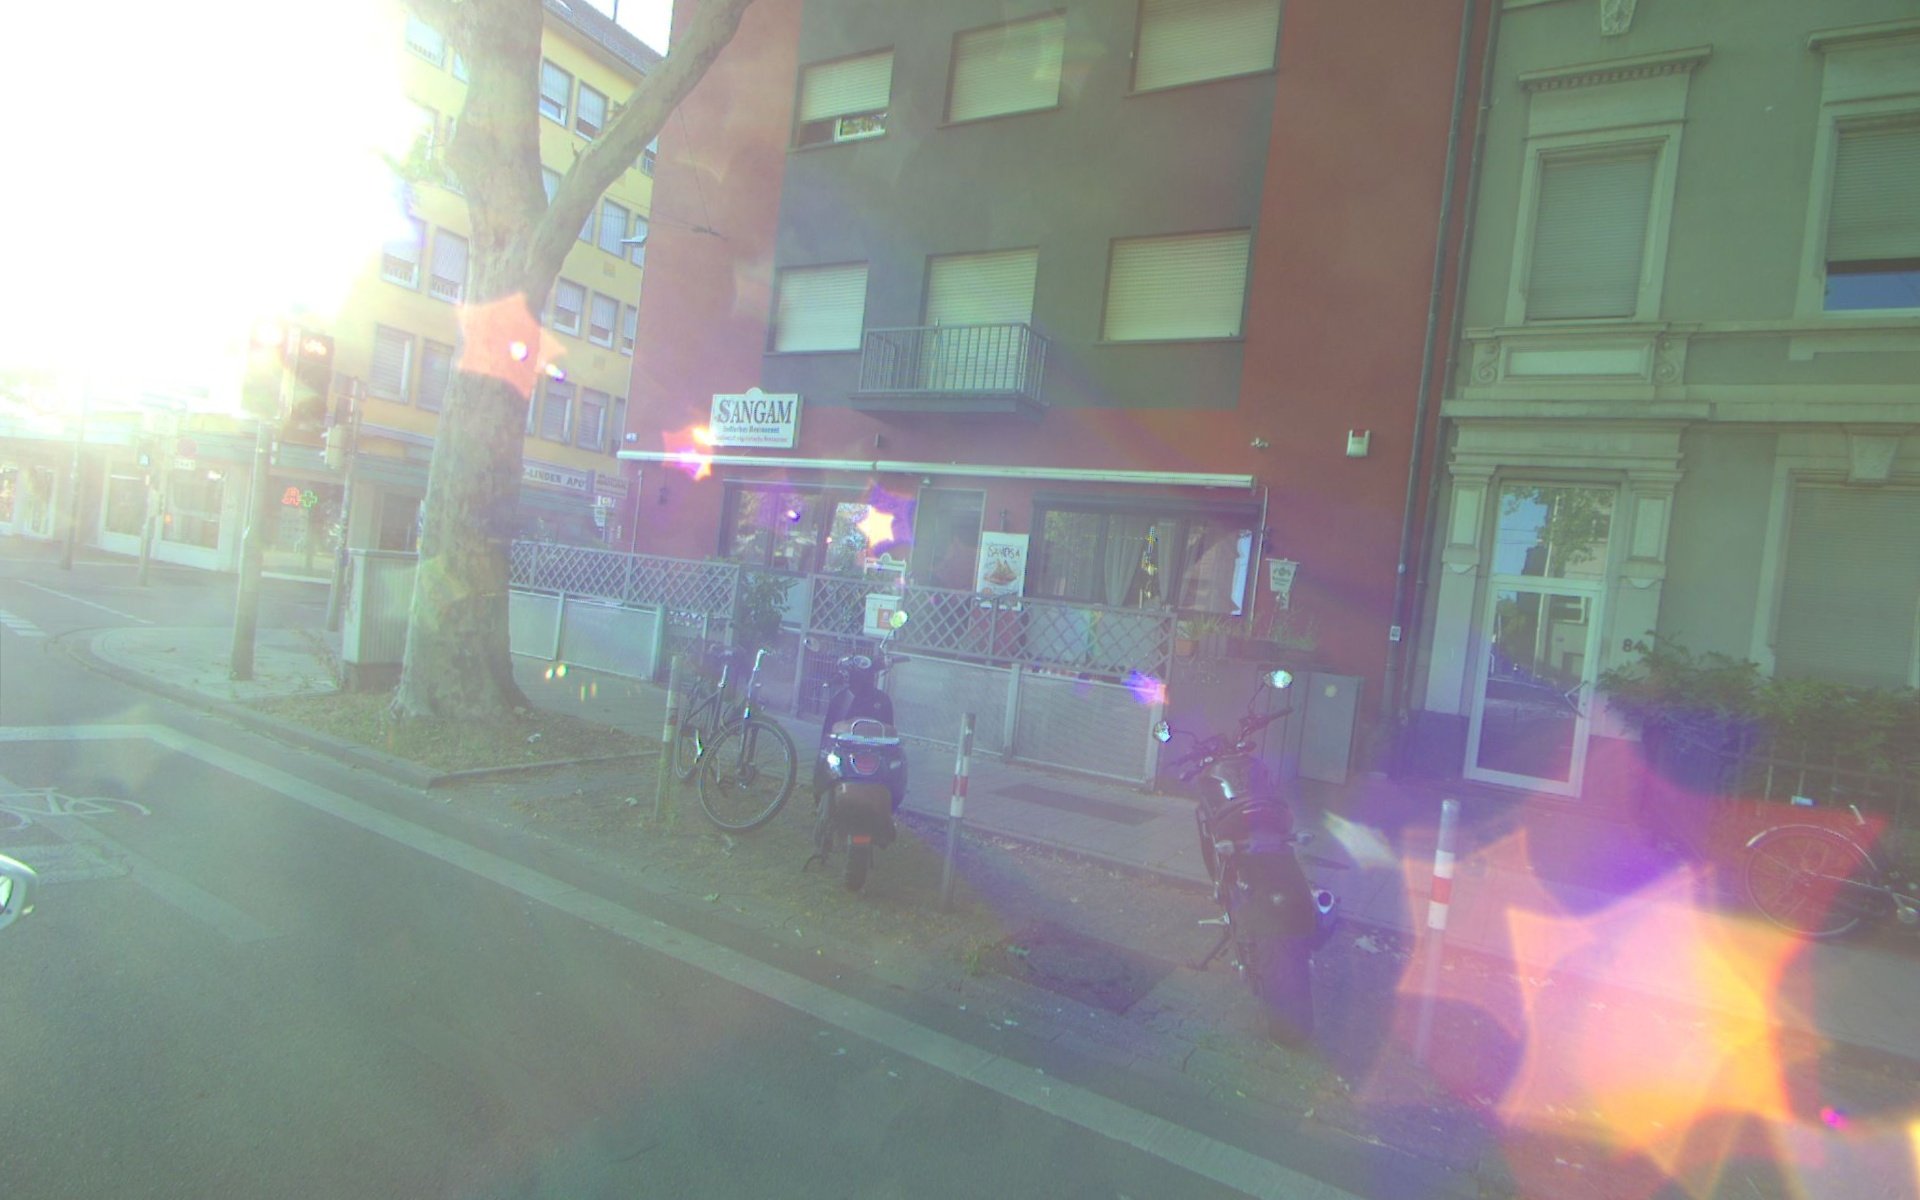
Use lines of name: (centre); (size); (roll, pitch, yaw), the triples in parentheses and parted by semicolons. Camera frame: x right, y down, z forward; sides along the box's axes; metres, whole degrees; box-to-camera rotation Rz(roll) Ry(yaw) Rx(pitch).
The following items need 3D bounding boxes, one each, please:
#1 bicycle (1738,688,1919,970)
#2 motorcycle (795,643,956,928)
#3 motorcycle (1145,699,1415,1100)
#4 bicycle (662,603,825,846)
bicycle: (5.858, 1.372, 5.503); (2.356, 1.443, 0.608); (6, -1, 32)
motorcycle: (-0.549, 0.913, 5.651); (0.591, 1.166, 1.994); (6, 0, -10)
motorcycle: (1.310, 1.150, 4.616); (0.752, 1.077, 2.212); (7, 2, 9)
bicycle: (-1.499, 0.740, 6.677); (0.686, 1.219, 1.837); (8, 2, -20)
